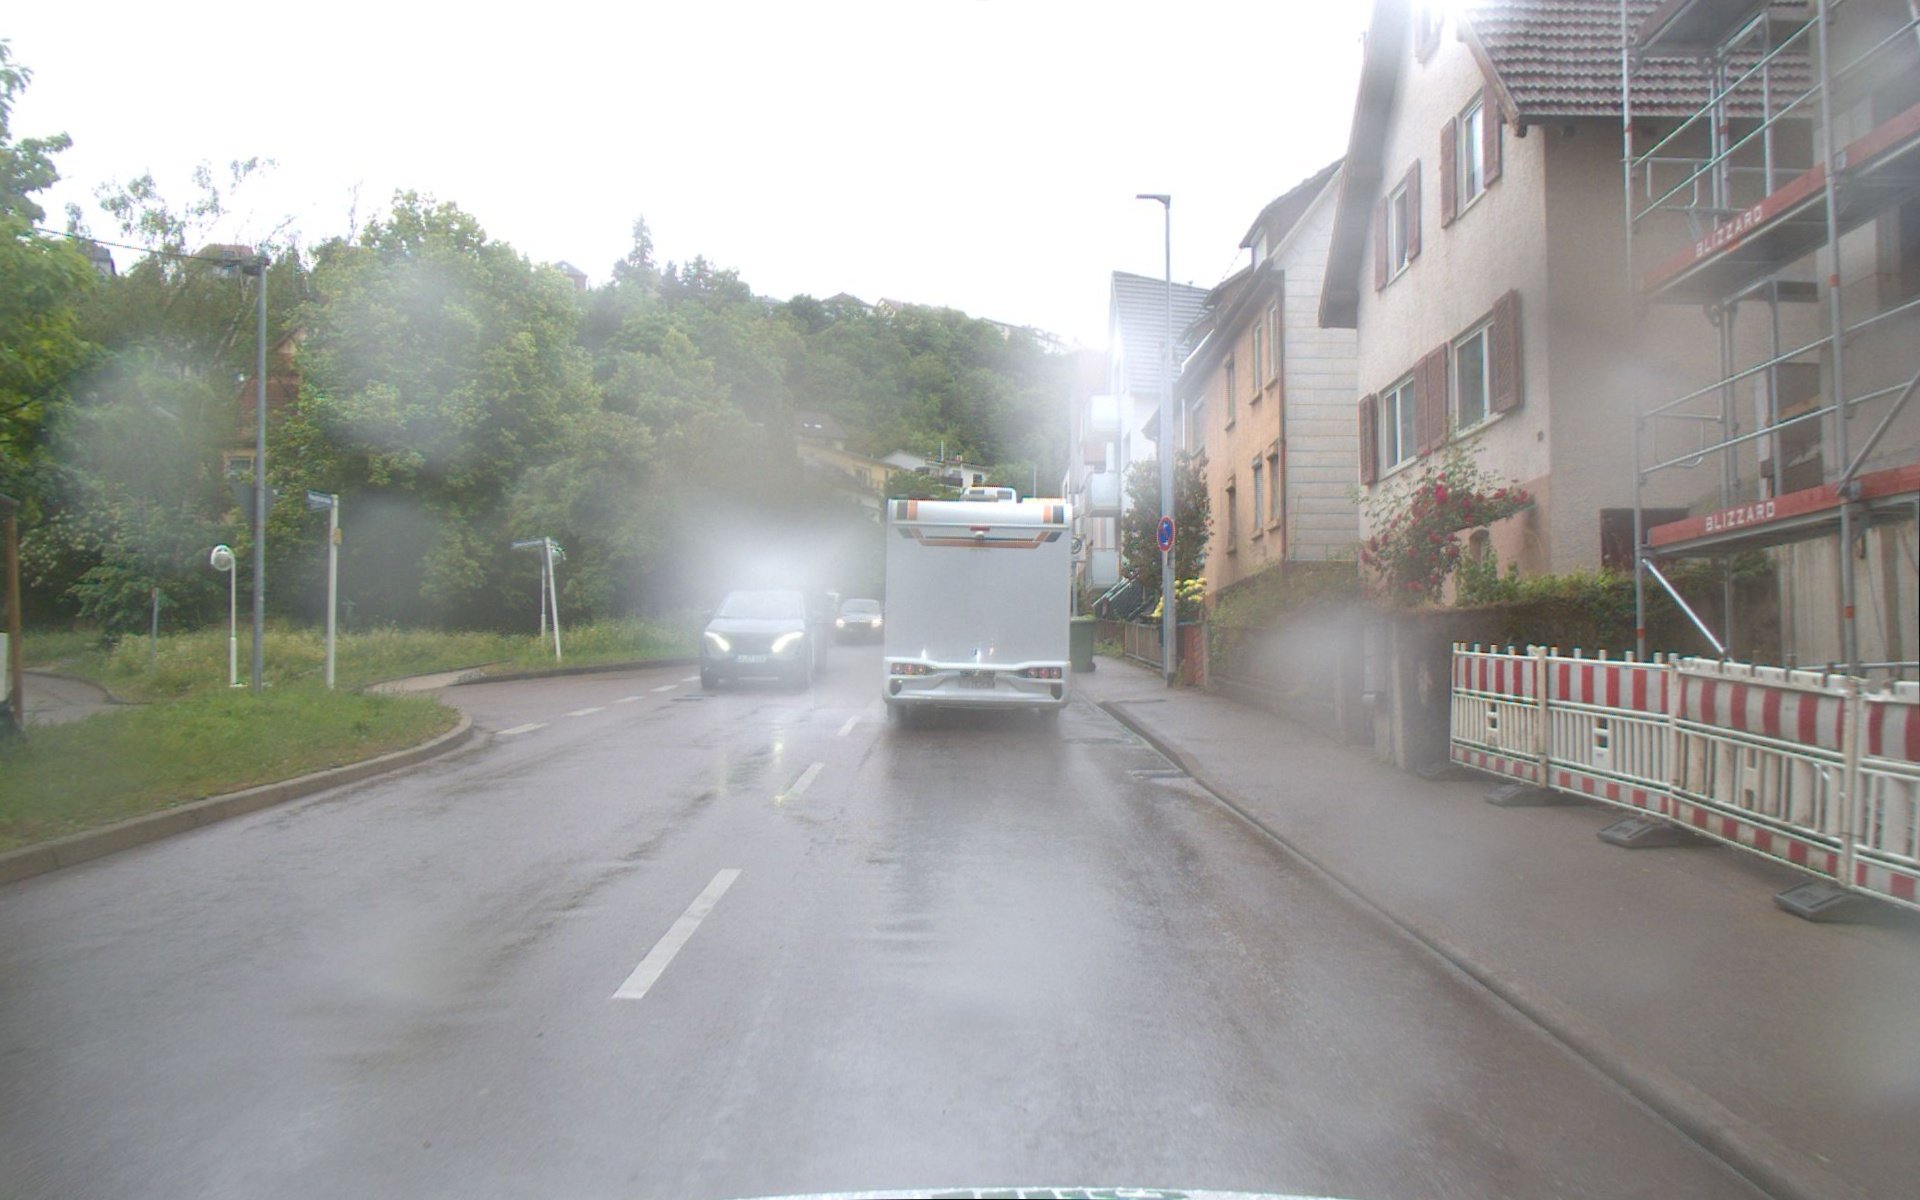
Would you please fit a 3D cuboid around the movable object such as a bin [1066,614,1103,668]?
[{"bbox_3d":[2.522,0.821,33.458,0.705,1.070,0.800,1,0,3],"label":"movable object such as a bin"}]

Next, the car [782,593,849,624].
[{"bbox_3d":[-9.176,0.534,105.469,4.021,1.831,2.000,1,0,2],"label":"car"}]

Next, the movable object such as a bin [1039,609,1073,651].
[{"bbox_3d":[2.623,0.823,45.265,0.895,1.122,0.702,1,0,2],"label":"movable object such as a bin"}]

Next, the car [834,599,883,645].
[{"bbox_3d":[-3.496,0.740,57.277,1.529,1.480,4.083,1,0,-2],"label":"car"}]

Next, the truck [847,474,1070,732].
[{"bbox_3d":[-0.066,0.042,21.849,2.464,2.867,6.200,1,0,-1],"label":"truck"}]

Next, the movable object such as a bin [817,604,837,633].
[{"bbox_3d":[-5.297,0.743,66.051,0.706,1.119,0.757,2,0,0],"label":"movable object such as a bin"}]

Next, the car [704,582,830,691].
[{"bbox_3d":[-3.286,0.590,28.895,1.715,1.718,4.375,1,0,-1],"label":"car"}]
